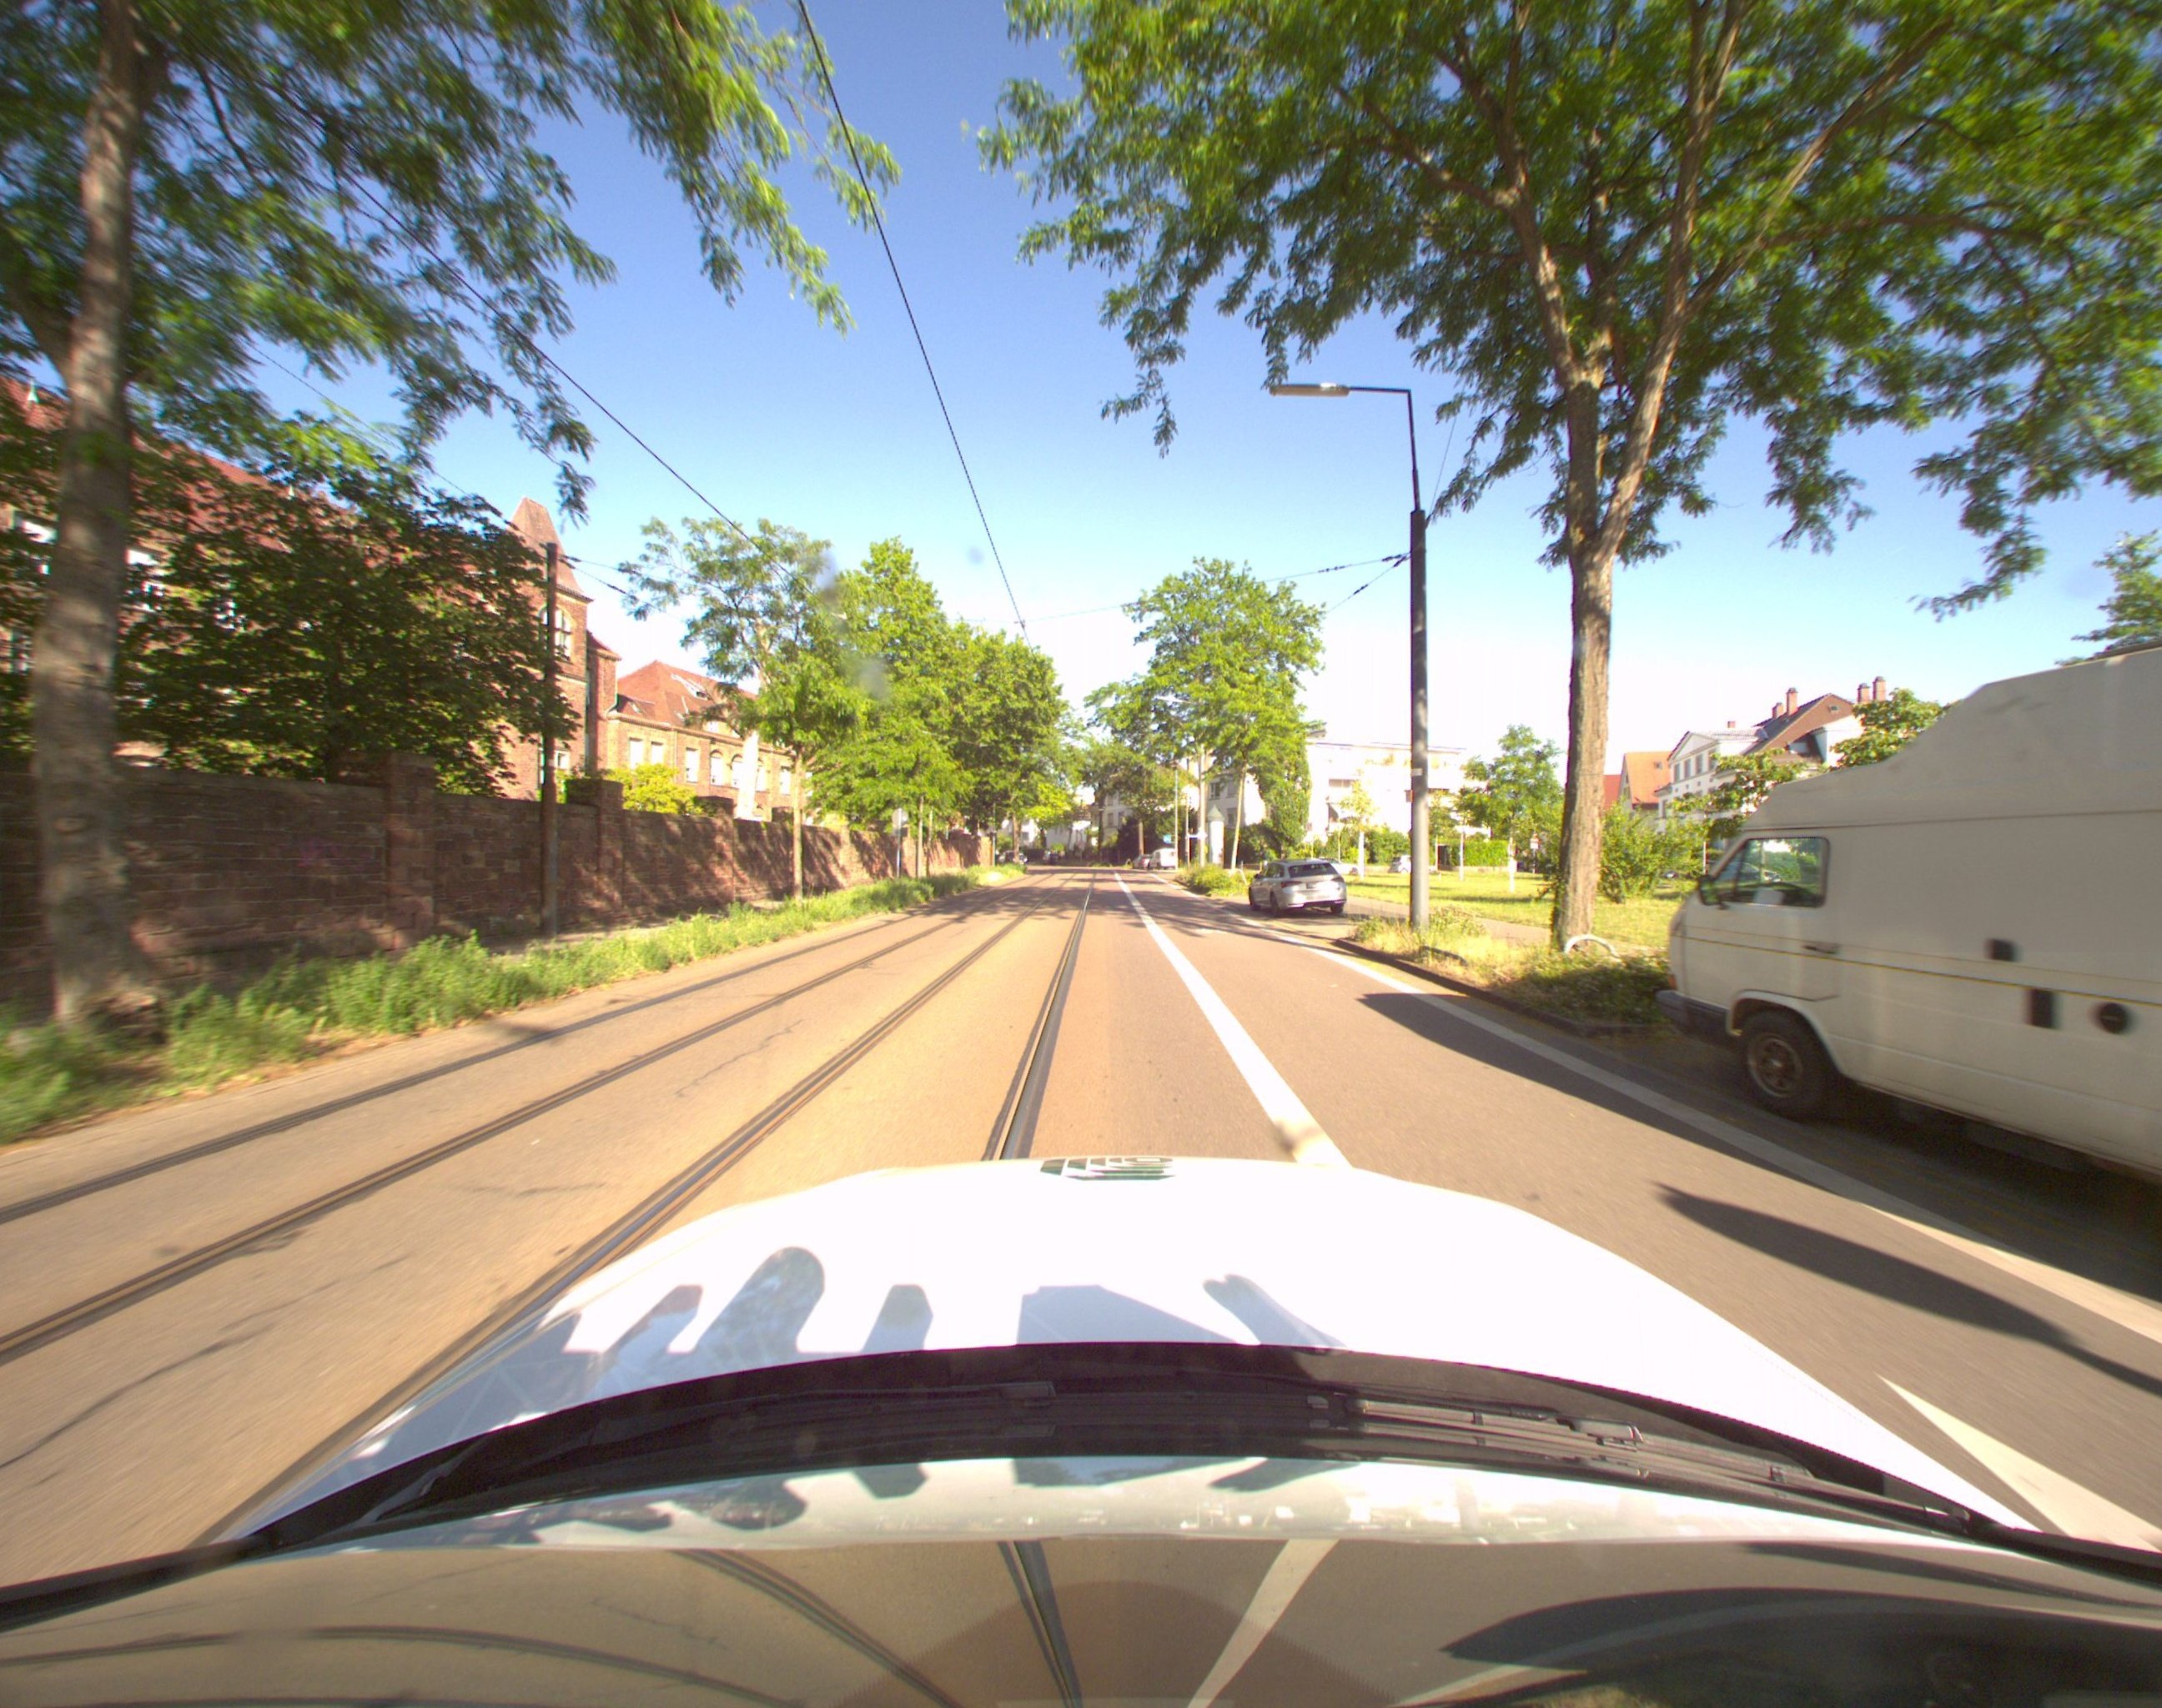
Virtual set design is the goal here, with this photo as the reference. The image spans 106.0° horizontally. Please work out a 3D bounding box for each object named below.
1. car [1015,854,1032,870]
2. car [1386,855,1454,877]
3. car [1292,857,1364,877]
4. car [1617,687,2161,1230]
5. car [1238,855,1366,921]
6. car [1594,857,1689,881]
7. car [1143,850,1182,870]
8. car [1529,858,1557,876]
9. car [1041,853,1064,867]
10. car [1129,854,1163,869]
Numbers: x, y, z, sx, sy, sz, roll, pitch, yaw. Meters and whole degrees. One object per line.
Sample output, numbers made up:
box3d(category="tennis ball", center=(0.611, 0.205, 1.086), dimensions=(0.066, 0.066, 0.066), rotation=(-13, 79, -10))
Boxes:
box3d(category="car", center=(-6.555, 0.927, 93.005), dimensions=(1.628, 1.792, 4.336), rotation=(0, 0, -1))
box3d(category="car", center=(24.512, 0.879, 58.967), dimensions=(4.281, 1.511, 1.833), rotation=(0, -3, -11))
box3d(category="car", center=(17.318, 0.900, 57.059), dimensions=(4.520, 1.369, 1.958), rotation=(0, 0, -17))
box3d(category="car", center=(5.157, 0.400, 3.980), dimensions=(1.987, 2.095, 4.715), rotation=(0, 0, 0))
box3d(category="car", center=(5.830, 0.838, 22.299), dimensions=(1.994, 1.465, 5.432), rotation=(-3, 0, 0))
box3d(category="car", center=(35.404, 0.903, 51.576), dimensions=(2.063, 1.471, 4.728), rotation=(0, 0, -17))
box3d(category="car", center=(7.212, 0.518, 72.673), dimensions=(2.025, 1.747, 4.729), rotation=(0, 0, -14))
box3d(category="car", center=(45.119, 1.277, 79.631), dimensions=(2.027, 1.708, 4.312), rotation=(0, 0, 24))
box3d(category="car", center=(-3.908, 0.777, 110.764), dimensions=(1.809, 1.694, 4.700), rotation=(-3, 1, -18))
box3d(category="car", center=(6.262, 0.735, 78.584), dimensions=(1.997, 1.423, 4.311), rotation=(0, -1, -14))
